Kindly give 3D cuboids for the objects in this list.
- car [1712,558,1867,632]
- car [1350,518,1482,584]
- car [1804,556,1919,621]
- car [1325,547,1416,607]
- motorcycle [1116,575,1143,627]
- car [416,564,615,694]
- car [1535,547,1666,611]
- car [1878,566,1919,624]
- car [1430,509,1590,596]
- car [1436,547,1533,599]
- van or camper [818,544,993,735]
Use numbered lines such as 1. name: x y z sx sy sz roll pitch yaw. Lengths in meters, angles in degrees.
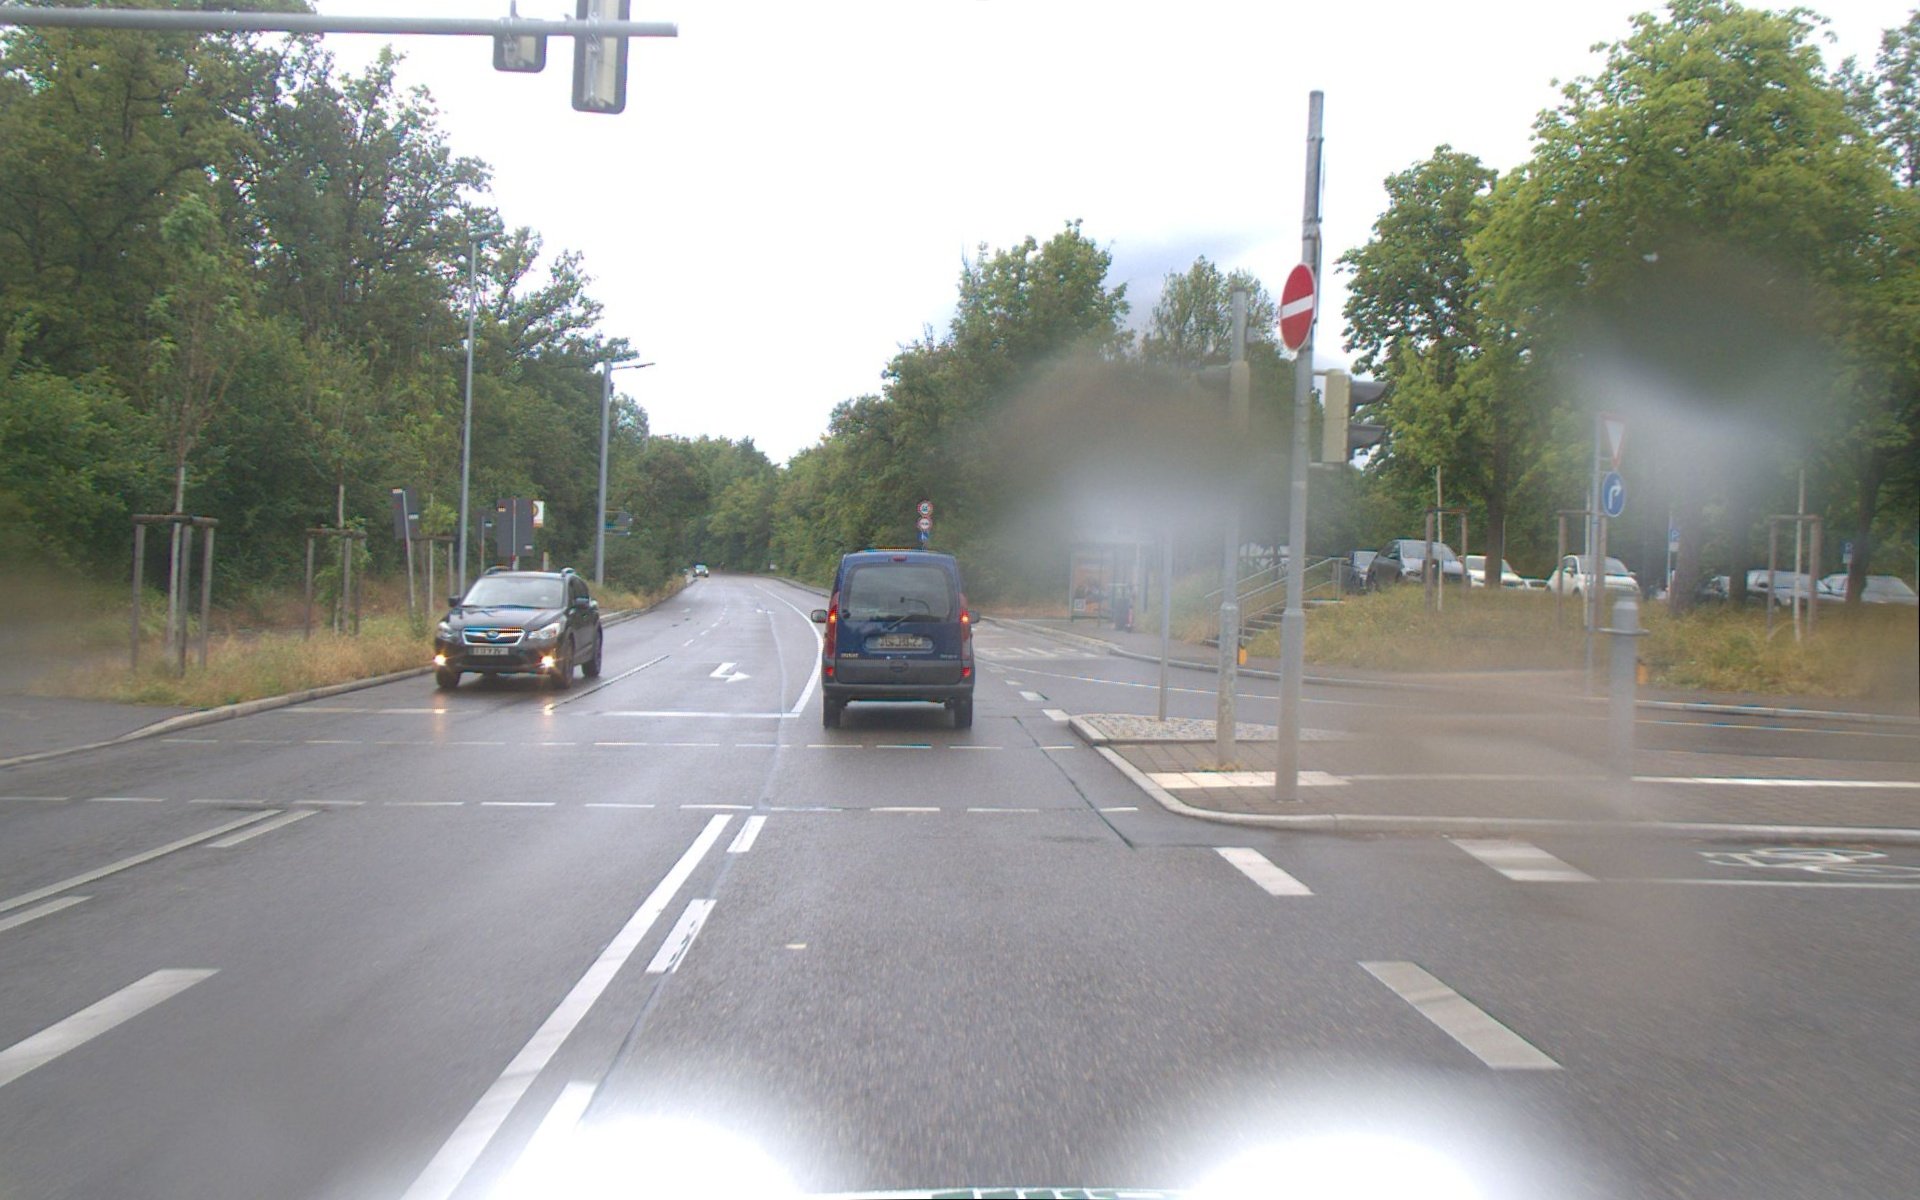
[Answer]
1. car: 21.673 -0.171 43.413 1.953 1.690 4.000 4 1 0
2. car: 11.844 -1.230 43.263 1.954 1.505 4.281 4 0 -4
3. car: 23.701 -0.267 42.673 1.846 1.505 4.070 4 0 2
4. car: 14.813 -0.840 59.898 1.955 2.048 3.996 2 1 -5
5. motorcycle: 4.424 0.019 43.006 0.576 1.311 1.539 1 1 10
6. car: -6.047 0.331 23.025 1.753 1.609 4.559 1 1 -3
7. car: 16.786 -0.529 43.548 1.847 1.505 4.069 4 0 1
8. car: 26.638 -0.098 44.232 1.847 1.505 4.068 4 0 0
9. car: 12.227 -1.064 37.060 1.954 1.690 3.998 4 1 -4
10. car: 17.127 -0.856 54.187 1.847 1.505 4.069 5 0 1
11. van or camper: -0.716 0.373 18.656 1.679 1.857 3.996 2 1 -5
